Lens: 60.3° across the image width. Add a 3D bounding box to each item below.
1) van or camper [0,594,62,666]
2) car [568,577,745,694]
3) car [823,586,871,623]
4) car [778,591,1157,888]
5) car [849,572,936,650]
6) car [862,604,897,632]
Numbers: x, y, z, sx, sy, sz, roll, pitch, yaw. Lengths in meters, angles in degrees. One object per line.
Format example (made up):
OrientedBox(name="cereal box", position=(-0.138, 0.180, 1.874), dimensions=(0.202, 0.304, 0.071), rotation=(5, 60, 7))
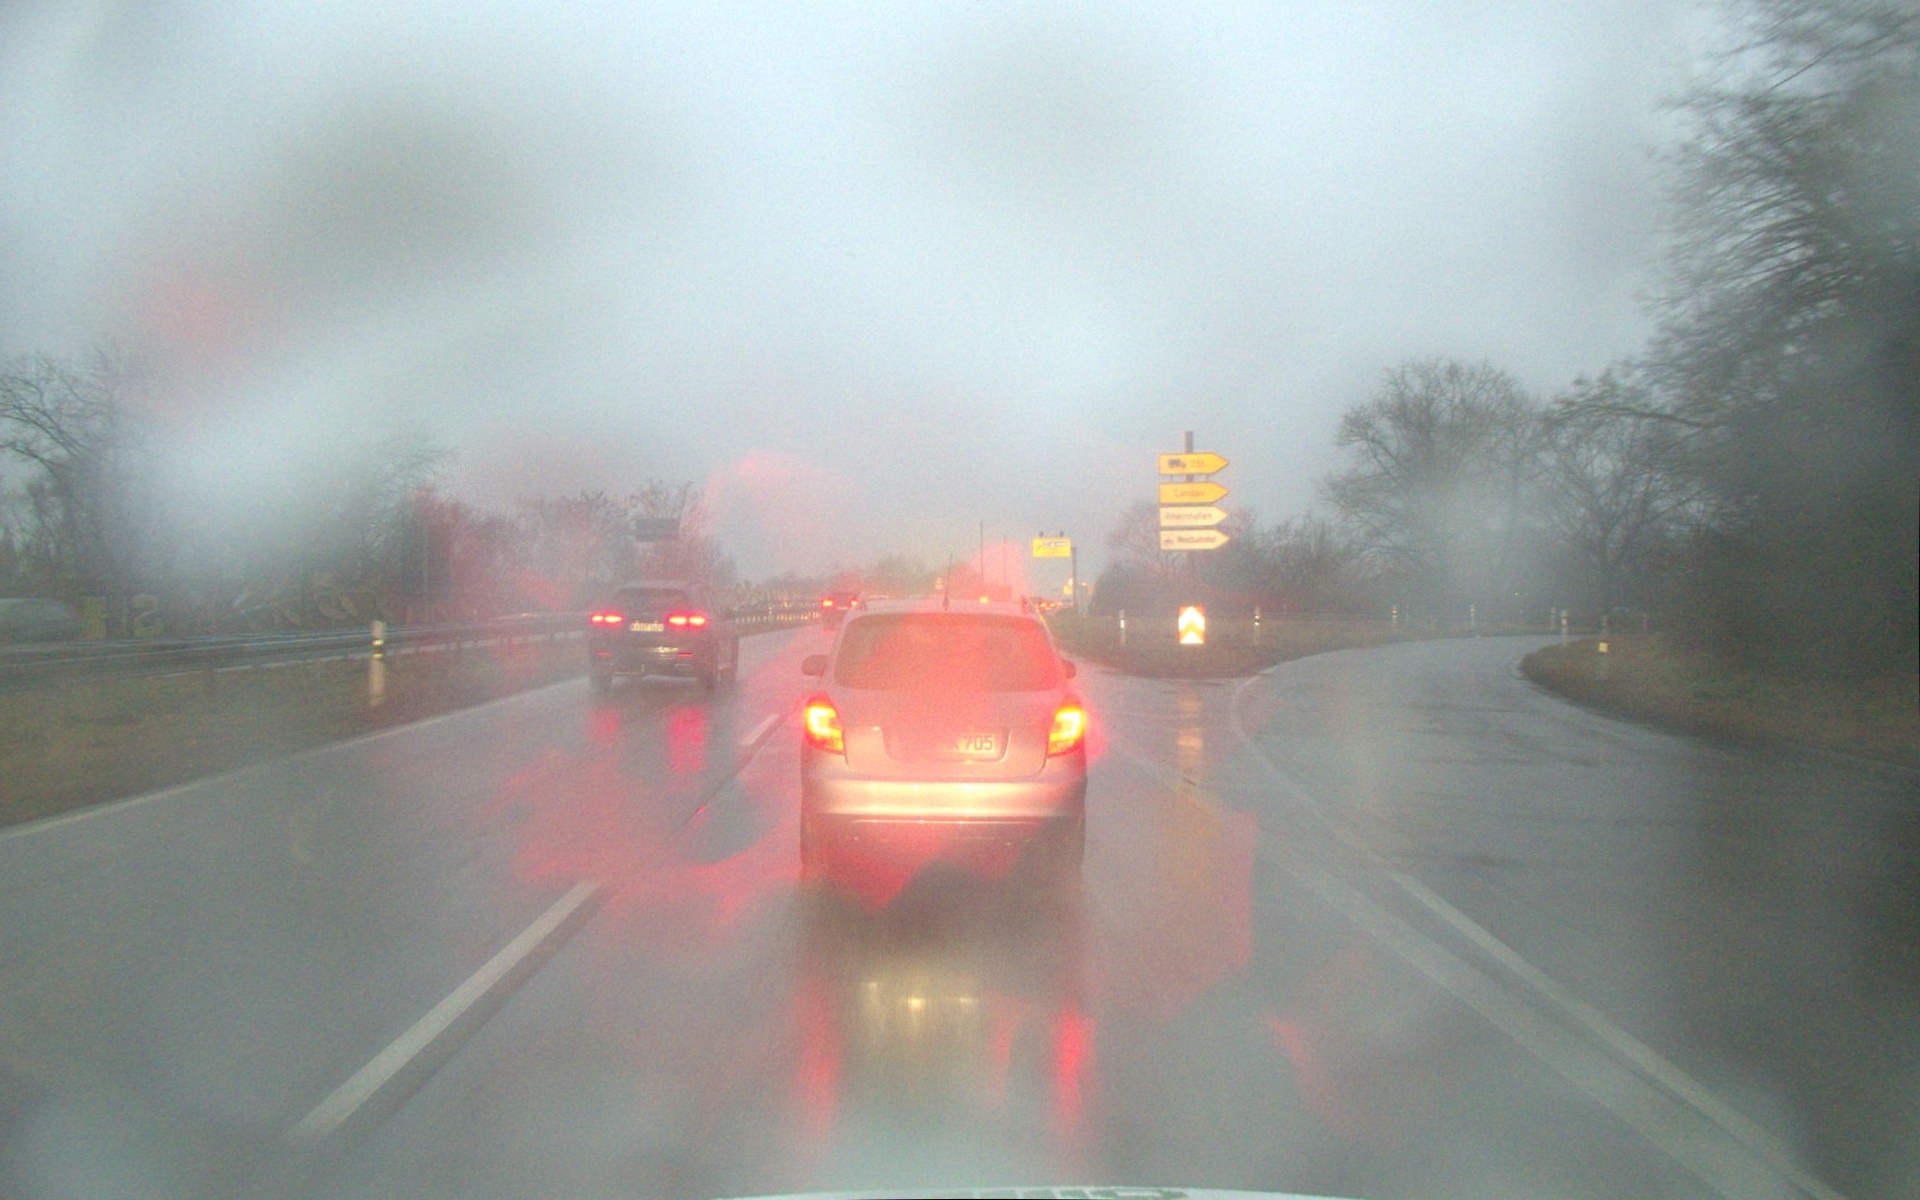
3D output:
OrientedBox(name="van or camper", position=(-25.012, 0.774, 42.379), dimensions=(1.615, 1.815, 4.209), rotation=(0, 0, 1))
OrientedBox(name="car", position=(-4.625, 0.505, 25.838), dimensions=(1.953, 1.629, 4.308), rotation=(1, 0, -1))
OrientedBox(name="car", position=(-5.005, 0.173, 73.687), dimensions=(1.752, 1.572, 4.001), rotation=(-1, 0, 1))
OrientedBox(name="car", position=(0.083, 0.738, 10.620), dimensions=(1.952, 1.527, 4.138), rotation=(0, 0, 1))
OrientedBox(name="car", position=(-1.609, 0.250, 40.990), dimensions=(1.858, 1.798, 4.309), rotation=(-1, 0, 1))
OrientedBox(name="car", position=(-4.751, 1.035, 97.914), dimensions=(1.752, 1.572, 4.000), rotation=(-1, 0, 1))
